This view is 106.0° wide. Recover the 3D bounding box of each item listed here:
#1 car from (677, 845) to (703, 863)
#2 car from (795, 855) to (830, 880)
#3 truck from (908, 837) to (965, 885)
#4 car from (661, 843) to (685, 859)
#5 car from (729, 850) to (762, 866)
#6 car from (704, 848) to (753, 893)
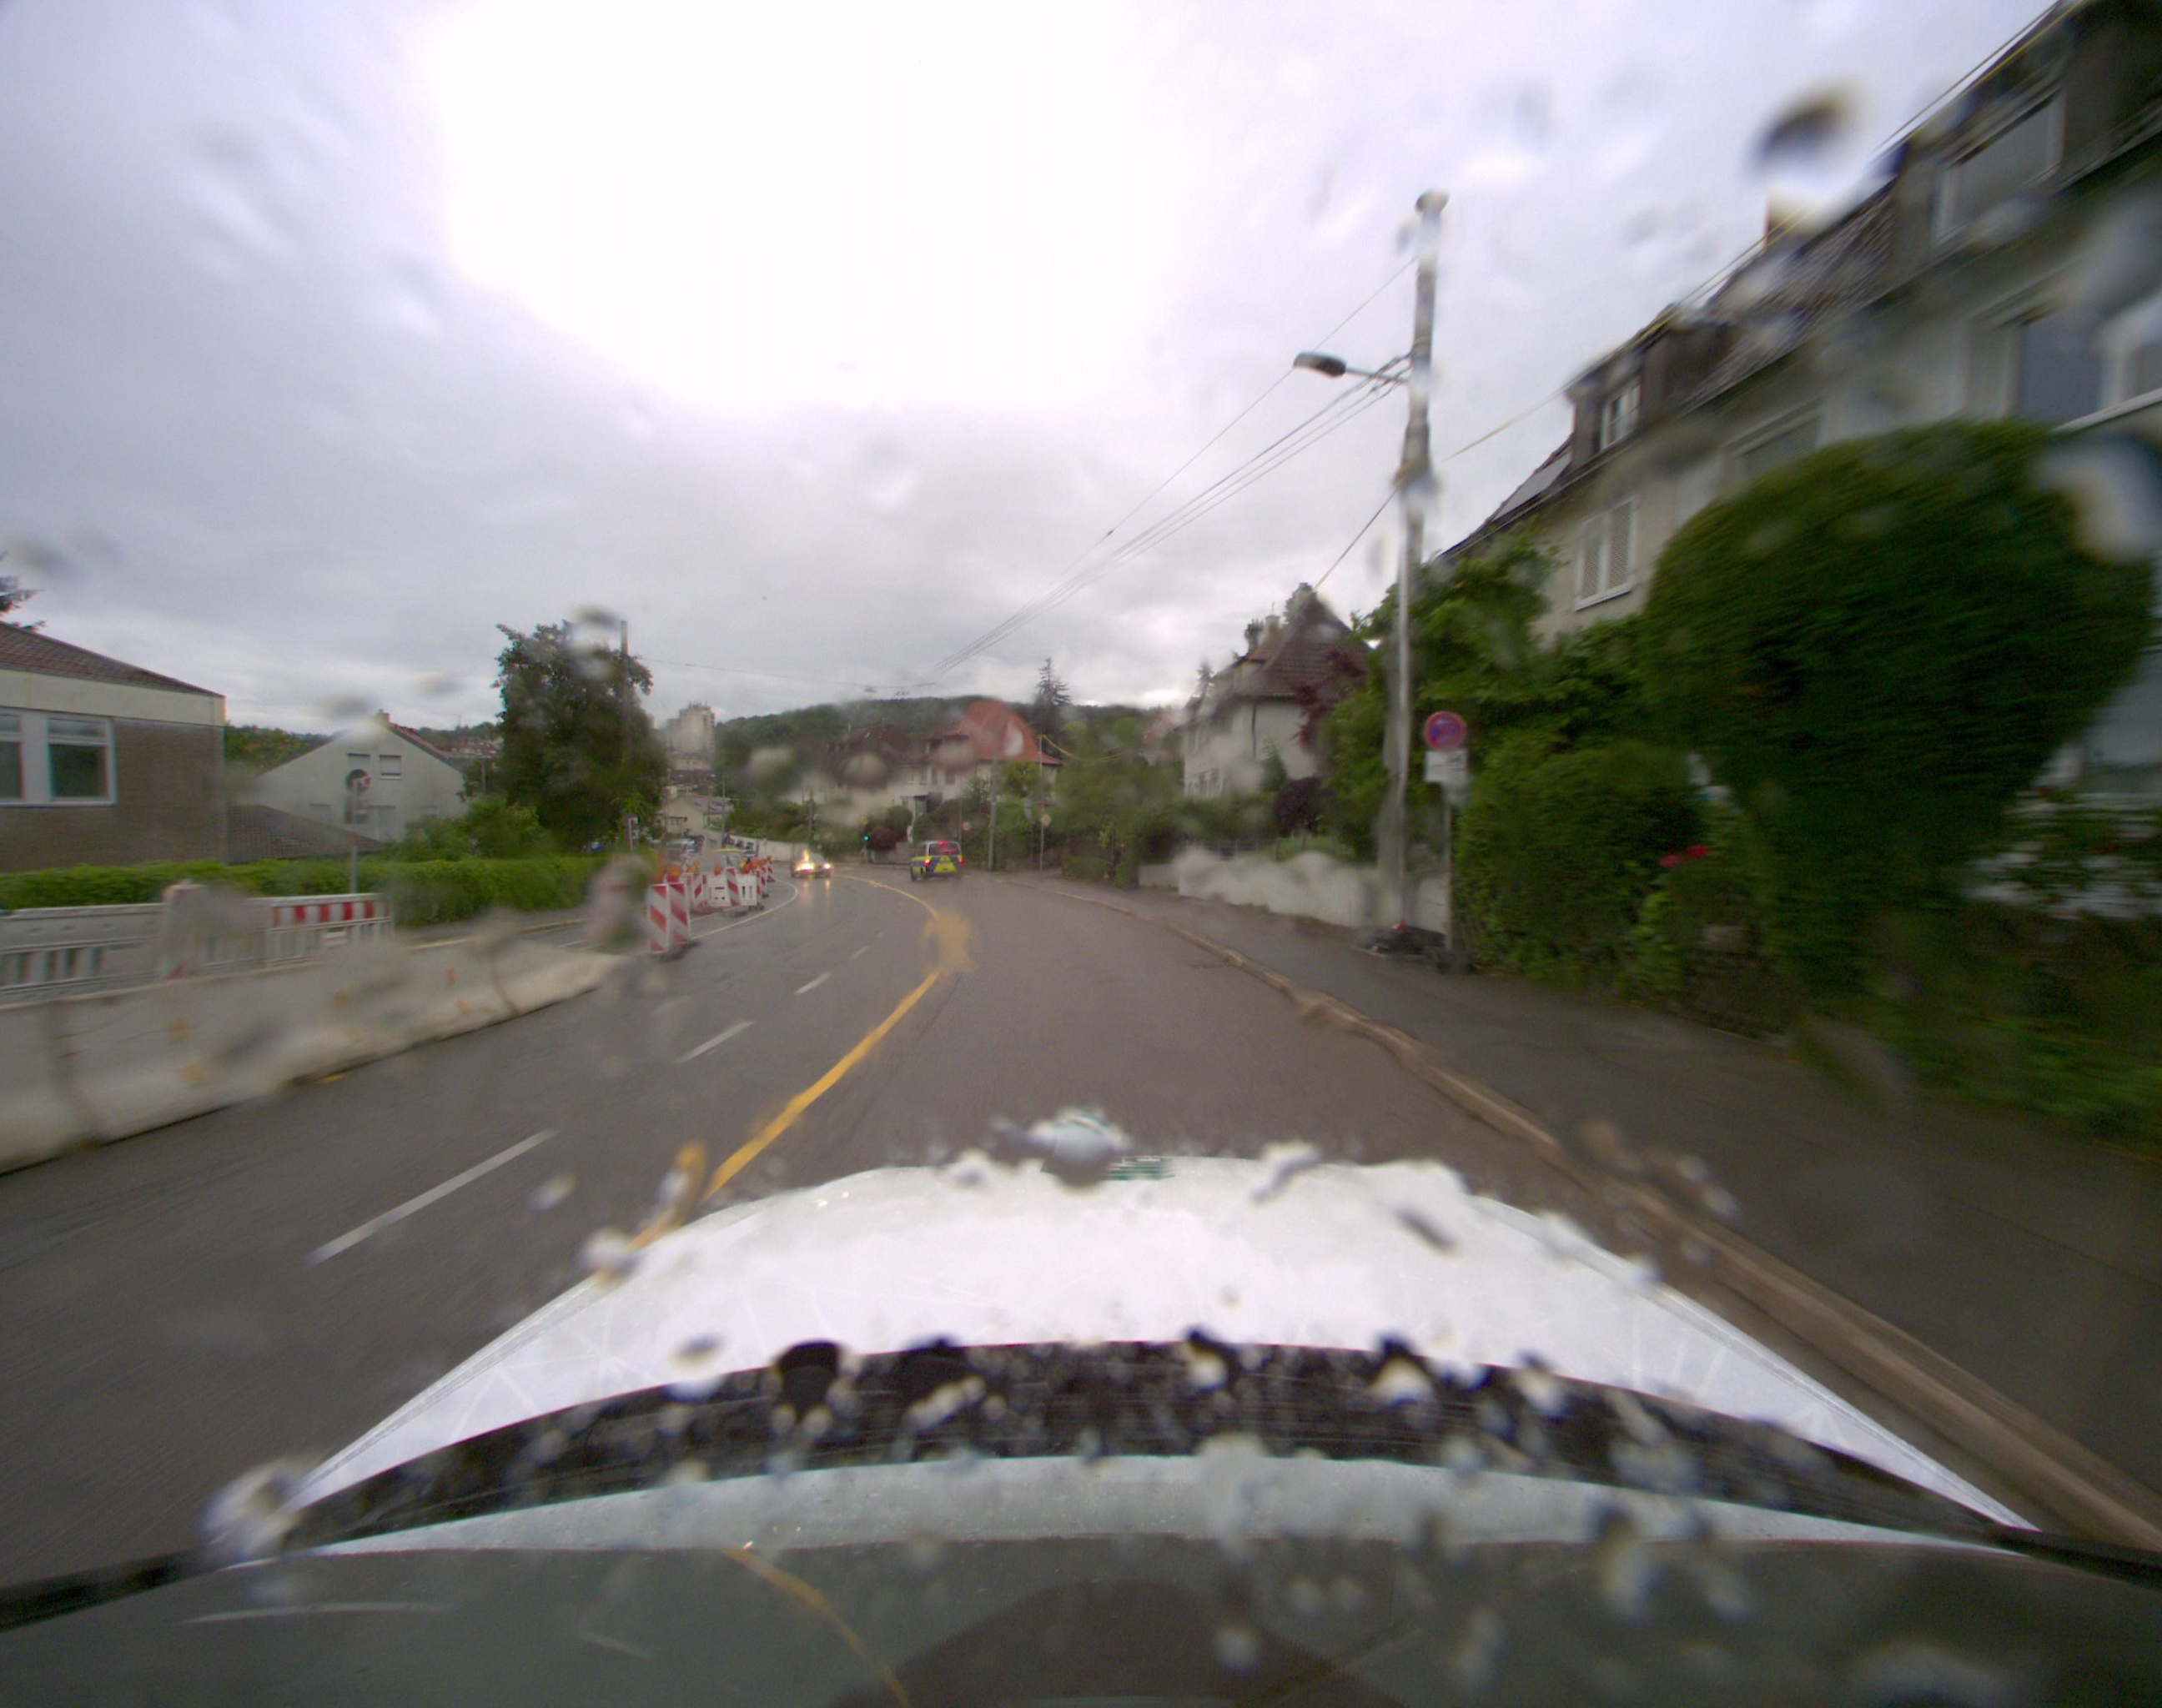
[{"bbox_3d":[-46.061,0.004,95.951,2.009,1.683,3.957,-3,6,-37],"label":"car"},{"bbox_3d":[-16.574,0.805,50.277,1.999,1.464,3.974,0,0,-19],"label":"car"},{"bbox_3d":[-7.213,0.270,40.232,2.000,2.013,4.705,-1,3,-19],"label":"truck"},{"bbox_3d":[-53.011,-0.448,105.843,2.009,1.683,3.957,-3,6,-37],"label":"car"},{"bbox_3d":[-33.756,0.365,81.836,2.010,1.574,3.954,0,0,-39],"label":"car"},{"bbox_3d":[-16.899,0.732,38.883,2.003,2.013,5.099,0,0,-25],"label":"car"}]
